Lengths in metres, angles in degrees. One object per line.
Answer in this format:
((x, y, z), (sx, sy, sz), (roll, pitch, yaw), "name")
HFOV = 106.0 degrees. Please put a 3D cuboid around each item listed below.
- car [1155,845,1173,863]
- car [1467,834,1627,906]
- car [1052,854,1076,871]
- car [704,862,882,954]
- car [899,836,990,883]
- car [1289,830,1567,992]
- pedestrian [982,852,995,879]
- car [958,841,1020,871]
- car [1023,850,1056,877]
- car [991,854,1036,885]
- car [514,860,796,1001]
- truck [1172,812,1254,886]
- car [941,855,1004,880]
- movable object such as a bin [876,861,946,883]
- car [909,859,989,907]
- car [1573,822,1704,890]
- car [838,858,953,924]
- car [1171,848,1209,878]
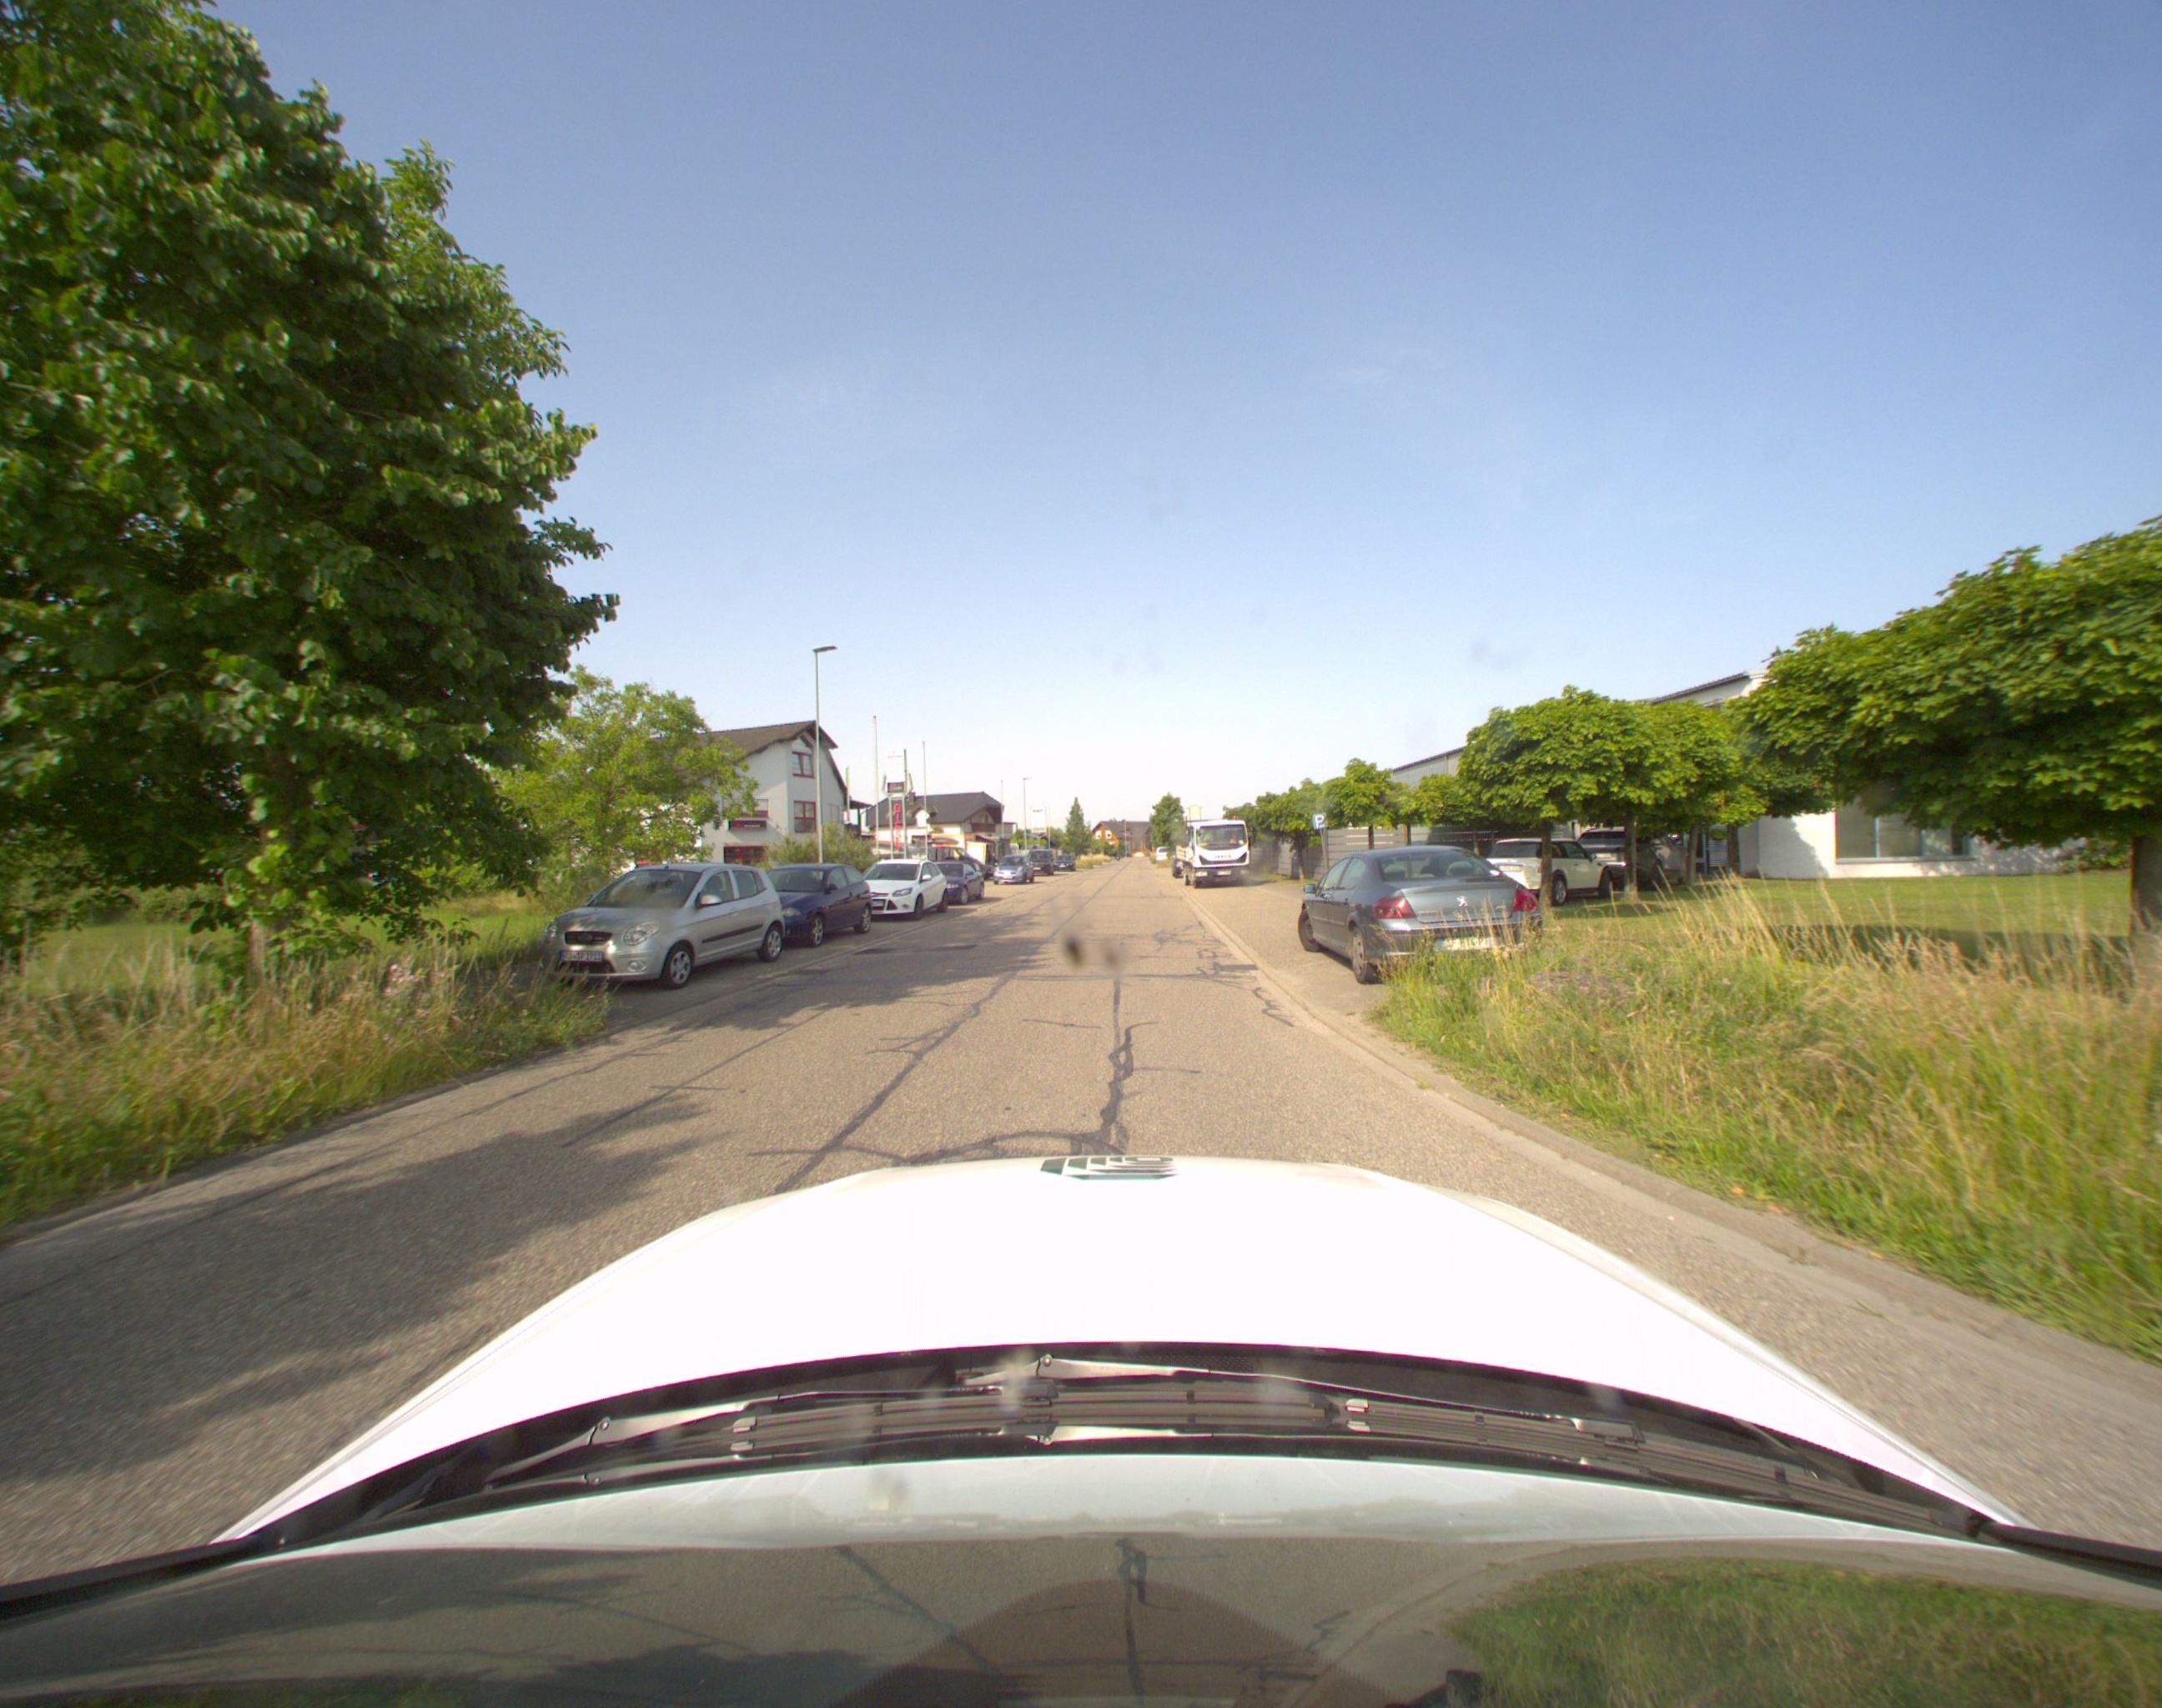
((9.729, 0.005, 95.673), (1.829, 1.924, 3.761), (-3, 0, 4), "car")
((10.394, 0.310, 18.103), (3.714, 1.380, 1.669), (-3, 0, -36), "car")
((-1.431, 0.702, 69.538), (1.792, 1.386, 3.641), (0, 0, 3), "car")
((-5.189, 0.896, 15.276), (1.570, 1.443, 3.970), (0, 0, 6), "car")
((-7.725, 0.313, 46.357), (4.603, 2.416, 2.004), (-2, 0, 6), "car")
((3.926, 0.556, 10.121), (1.786, 1.517, 4.428), (-2, 0, 4), "car")
((-6.153, 0.757, 54.113), (0.566, 1.715, 0.528), (-2, 0, -34), "pedestrian")
((-8.819, 0.216, 78.126), (5.110, 2.586, 2.592), (-3, 0, 24), "car")
((-2.865, 0.615, 56.780), (1.792, 1.774, 4.207), (0, 0, 3), "car")
((-3.495, 0.790, 42.814), (1.624, 1.517, 3.612), (0, 0, 7), "car")
((-5.470, 0.870, 11.039), (1.558, 1.538, 3.695), (0, 0, 7), "car")
((5.294, -0.186, 33.645), (2.351, 2.681, 6.511), (-2, 0, 1), "truck")
((-6.666, 0.831, 50.197), (3.575, 1.414, 1.762), (-2, 0, 0), "car")
((-9.210, 0.966, 44.235), (3.300, 1.146, 1.768), (0, 1, 13), "movable object such as a bin")
((-4.261, 0.903, 26.905), (1.626, 1.387, 4.374), (0, 0, 4), "car")
((14.620, 0.007, 21.251), (4.558, 1.589, 1.667), (-2, 0, -41), "car")
((-4.636, 0.866, 20.976), (1.676, 1.469, 4.259), (0, 0, 4), "car")
((6.064, 0.464, 45.687), (1.787, 1.560, 4.004), (-2, 0, 3), "car")
